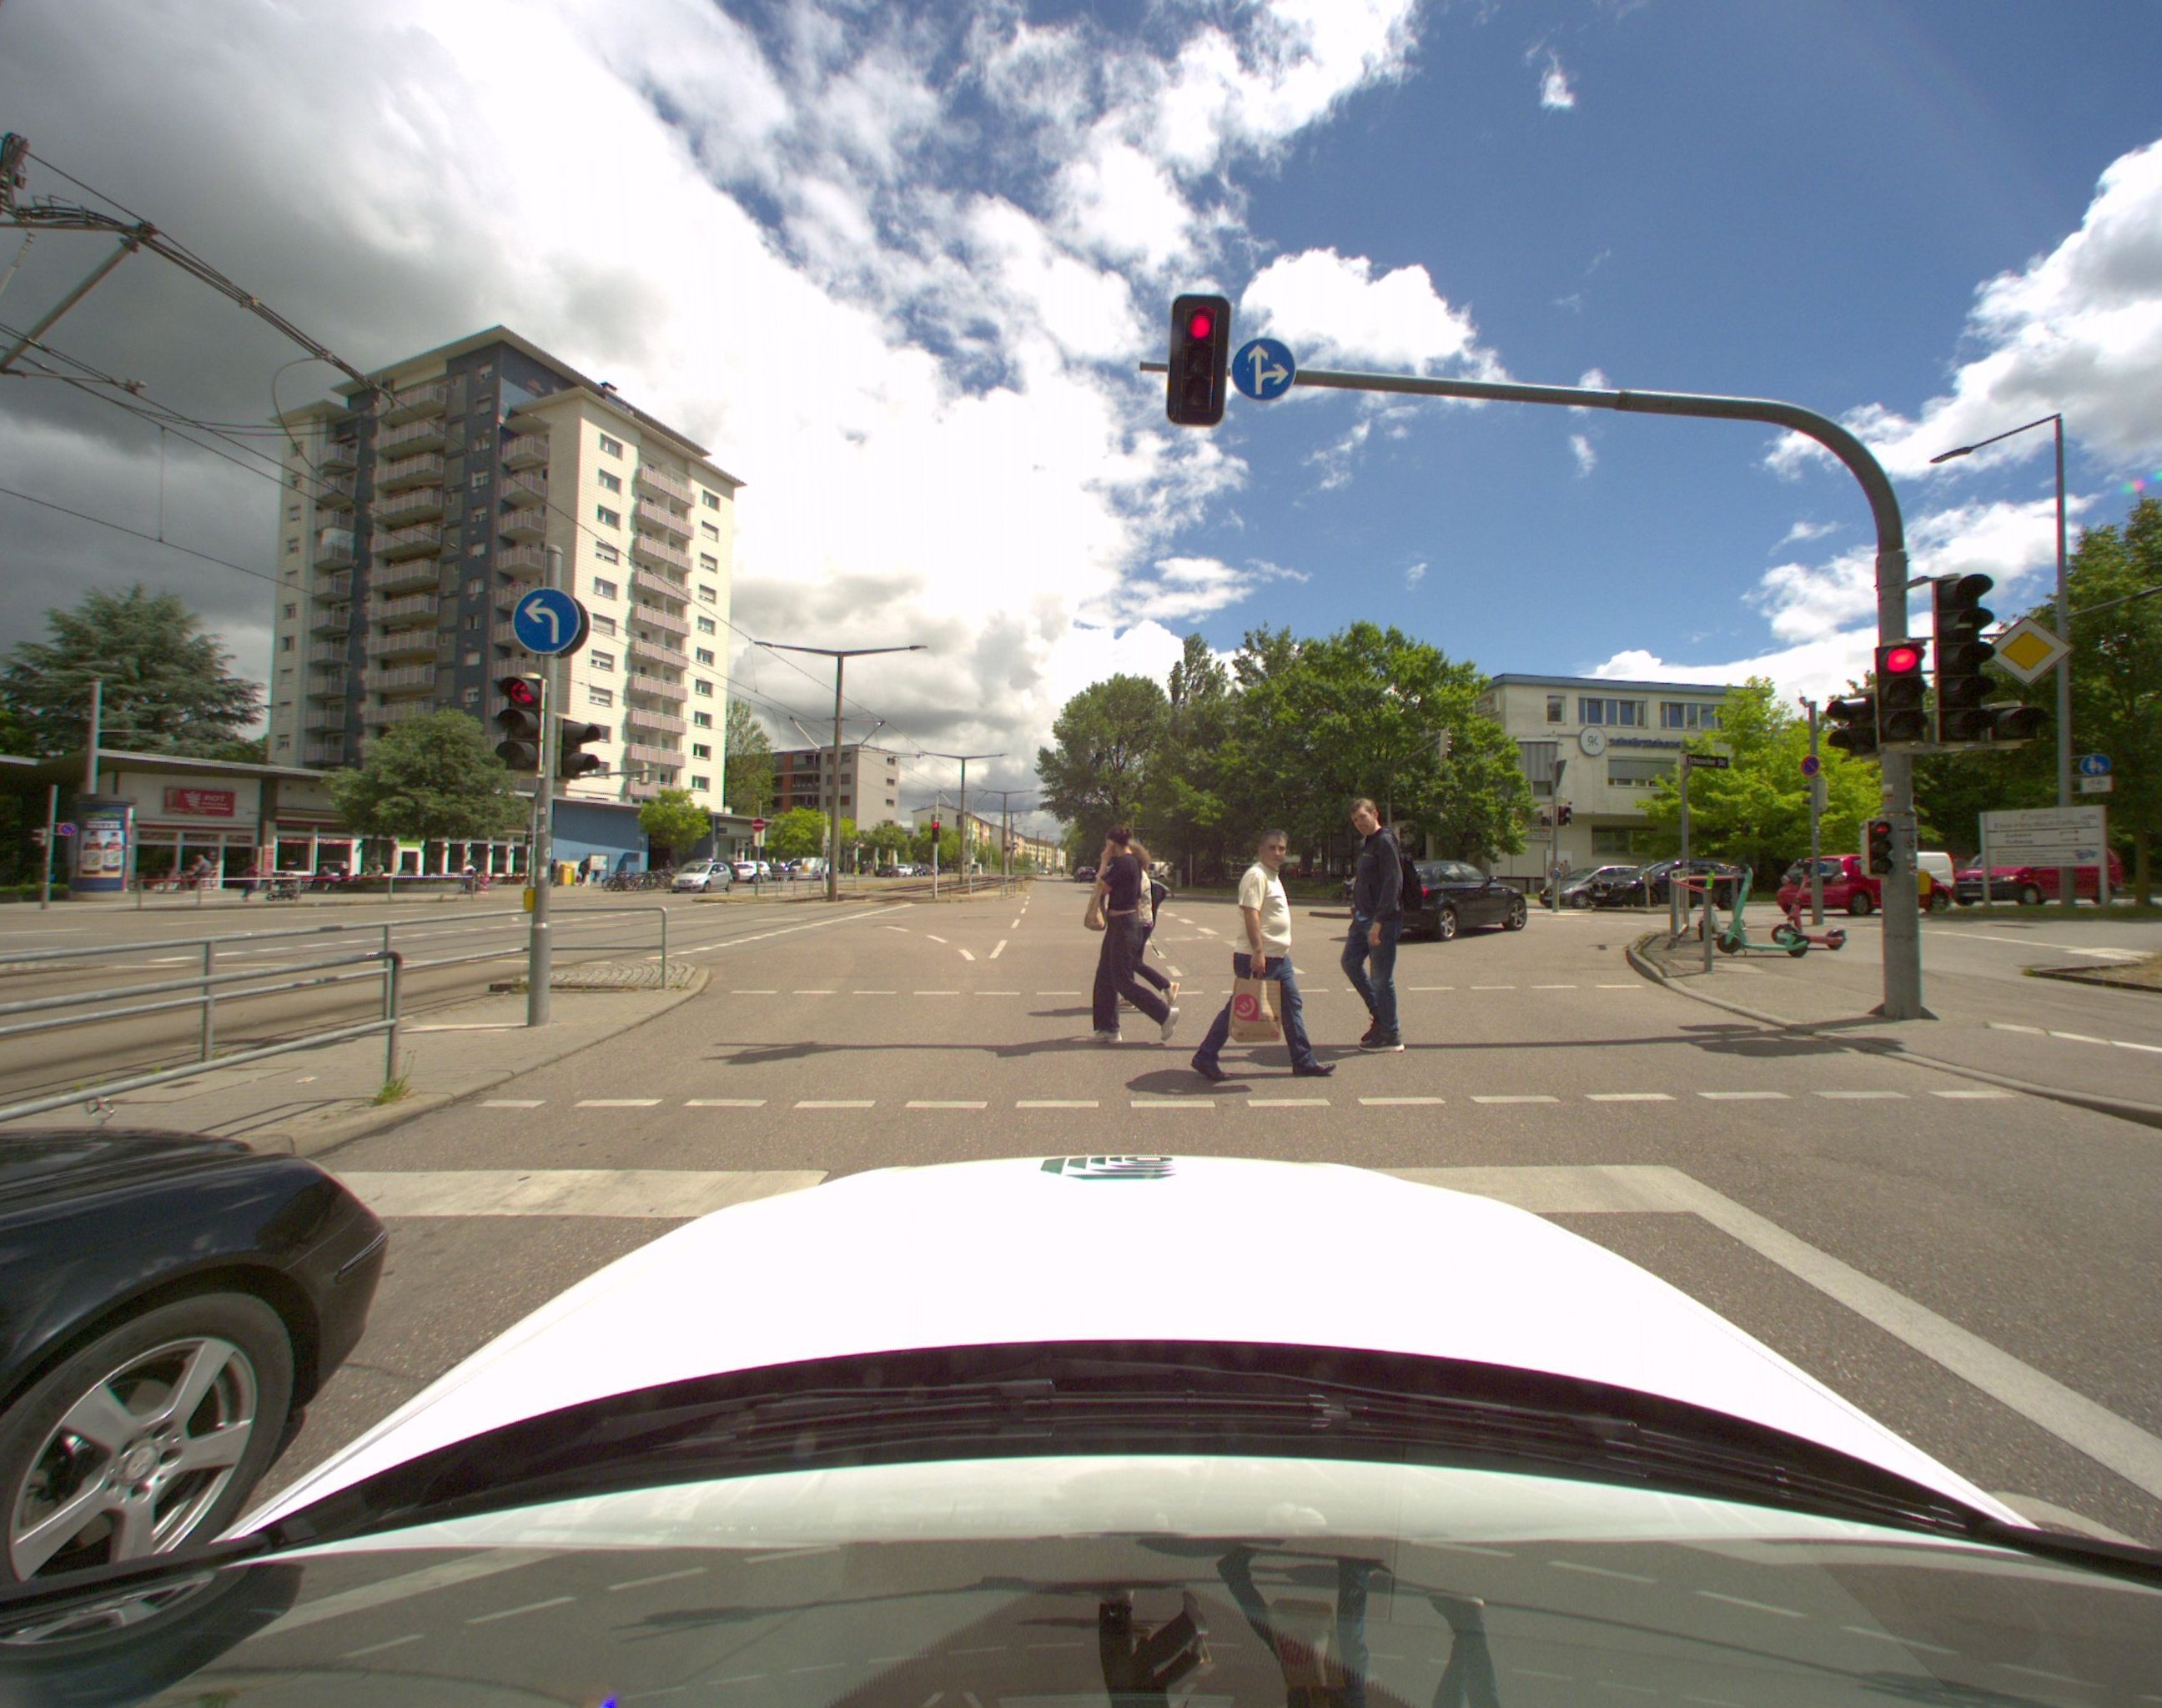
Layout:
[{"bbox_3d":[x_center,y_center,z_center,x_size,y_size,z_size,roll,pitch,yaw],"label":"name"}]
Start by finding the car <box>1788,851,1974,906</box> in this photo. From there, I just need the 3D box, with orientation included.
[{"bbox_3d":[26.195,0.769,26.732,4.555,1.717,1.995,0,0,-8],"label":"car"}]

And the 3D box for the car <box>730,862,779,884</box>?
[{"bbox_3d":[-24.892,1.421,61.949,4.165,1.538,1.973,-1,-1,45],"label":"car"}]

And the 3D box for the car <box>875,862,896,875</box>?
[{"bbox_3d":[-22.007,1.664,91.700,1.758,1.395,3.993,0,0,-5],"label":"car"}]

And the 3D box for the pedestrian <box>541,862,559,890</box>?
[{"bbox_3d":[-30.159,1.242,46.269,0.770,1.615,0.693,0,-1,-24],"label":"pedestrian"}]

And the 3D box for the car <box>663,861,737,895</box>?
[{"bbox_3d":[-19.811,1.200,42.550,1.930,1.693,3.874,0,0,2],"label":"car"}]

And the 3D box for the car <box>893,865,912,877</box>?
[{"bbox_3d":[-21.667,2.032,99.064,1.758,1.395,3.993,0,0,-5],"label":"car"}]

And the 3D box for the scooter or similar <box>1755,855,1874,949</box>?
[{"bbox_3d":[10.238,0.660,11.385,1.225,1.240,0.555,2,0,-7],"label":"scooter or similar"}]

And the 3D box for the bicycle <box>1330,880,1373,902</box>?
[{"bbox_3d":[10.731,1.456,32.412,0.792,0.819,1.799,0,0,-14],"label":"bicycle"}]

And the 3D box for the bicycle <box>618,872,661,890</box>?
[{"bbox_3d":[-23.478,1.439,43.309,1.943,0.935,0.494,0,-1,-5],"label":"bicycle"}]

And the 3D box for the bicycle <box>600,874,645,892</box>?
[{"bbox_3d":[-23.498,1.486,41.762,1.943,0.935,0.494,0,-1,-5],"label":"bicycle"}]

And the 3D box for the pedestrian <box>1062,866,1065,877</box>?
[{"bbox_3d":[-2.865,2.840,132.195,0.334,1.627,0.356,0,-1,-16],"label":"pedestrian"}]

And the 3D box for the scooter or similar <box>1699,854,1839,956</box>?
[{"bbox_3d":[8.851,0.640,10.509,1.336,1.277,0.463,0,0,8],"label":"scooter or similar"}]

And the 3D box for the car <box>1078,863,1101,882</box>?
[{"bbox_3d":[0.810,1.676,74.707,1.986,1.684,4.002,0,0,2],"label":"car"}]

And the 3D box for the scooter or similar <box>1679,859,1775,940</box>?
[{"bbox_3d":[9.753,0.671,12.298,1.360,1.156,0.540,1,0,-23],"label":"scooter or similar"}]

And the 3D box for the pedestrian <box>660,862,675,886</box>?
[{"bbox_3d":[-28.266,1.377,55.654,0.768,1.615,0.695,0,-1,-14],"label":"pedestrian"}]

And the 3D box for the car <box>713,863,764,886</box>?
[{"bbox_3d":[-24.660,1.427,58.633,4.165,1.570,1.973,-1,-1,45],"label":"car"}]

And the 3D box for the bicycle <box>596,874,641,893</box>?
[{"bbox_3d":[-23.462,1.481,41.296,1.943,0.935,0.494,0,-1,-5],"label":"bicycle"}]

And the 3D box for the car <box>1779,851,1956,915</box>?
[{"bbox_3d":[18.773,0.658,19.496,3.187,1.441,1.541,0,0,-12],"label":"car"}]

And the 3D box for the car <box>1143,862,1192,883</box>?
[{"bbox_3d":[7.764,1.605,73.270,4.001,1.823,1.766,0,-1,-21],"label":"car"}]

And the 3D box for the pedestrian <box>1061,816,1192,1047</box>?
[{"bbox_3d":[0.351,0.593,6.692,0.933,1.765,0.769,0,0,-10],"label":"pedestrian"}]

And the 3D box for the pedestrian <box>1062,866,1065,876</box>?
[{"bbox_3d":[-2.888,2.778,132.209,0.477,1.637,0.454,0,-1,1],"label":"pedestrian"}]

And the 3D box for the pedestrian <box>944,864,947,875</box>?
[{"bbox_3d":[-21.237,2.453,127.857,0.451,1.637,0.480,0,-1,-1],"label":"pedestrian"}]

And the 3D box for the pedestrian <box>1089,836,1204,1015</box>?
[{"bbox_3d":[0.681,0.679,8.168,0.945,1.674,0.874,-2,-1,16],"label":"pedestrian"}]

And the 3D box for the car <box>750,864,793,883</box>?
[{"bbox_3d":[-24.765,1.519,65.029,1.800,1.420,4.166,0,-1,-43],"label":"car"}]

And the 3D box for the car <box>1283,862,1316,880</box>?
[{"bbox_3d":[20.566,1.604,76.658,1.728,1.595,3.992,0,0,-5],"label":"car"}]

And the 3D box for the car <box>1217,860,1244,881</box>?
[{"bbox_3d":[13.647,1.505,74.386,1.626,1.811,4.030,0,0,-1],"label":"car"}]

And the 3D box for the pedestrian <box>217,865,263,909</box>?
[{"bbox_3d":[-32.562,1.277,31.539,0.957,1.659,1.002,-1,-1,27],"label":"pedestrian"}]

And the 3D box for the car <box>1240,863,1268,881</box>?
[{"bbox_3d":[15.921,1.633,75.034,1.626,1.573,4.030,0,0,-1],"label":"car"}]

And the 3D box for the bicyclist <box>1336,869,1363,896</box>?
[{"bbox_3d":[10.702,1.126,32.455,0.792,1.022,0.633,0,-1,-13],"label":"bicyclist"}]

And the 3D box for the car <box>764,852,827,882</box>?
[{"bbox_3d":[-24.689,1.065,70.182,2.848,2.478,6.641,0,-1,-42],"label":"car"}]

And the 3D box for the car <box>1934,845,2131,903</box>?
[{"bbox_3d":[31.818,0.669,27.301,4.800,1.864,1.994,0,-2,-8],"label":"car"}]

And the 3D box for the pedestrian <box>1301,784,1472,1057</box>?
[{"bbox_3d":[2.318,0.474,6.288,0.963,1.942,0.896,0,0,-3],"label":"pedestrian"}]

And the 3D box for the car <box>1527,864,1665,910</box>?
[{"bbox_3d":[18.673,1.152,29.621,3.906,1.556,1.994,0,0,-9],"label":"car"}]

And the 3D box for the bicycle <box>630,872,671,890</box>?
[{"bbox_3d":[-23.434,1.449,44.337,1.943,0.935,0.494,0,-1,-5],"label":"bicycle"}]

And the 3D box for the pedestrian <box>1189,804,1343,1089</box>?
[{"bbox_3d":[1.227,0.583,5.555,0.866,1.808,0.741,0,0,-2],"label":"pedestrian"}]

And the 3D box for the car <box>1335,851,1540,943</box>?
[{"bbox_3d":[6.837,0.745,15.492,4.017,1.487,1.739,-1,-2,-36],"label":"car"}]

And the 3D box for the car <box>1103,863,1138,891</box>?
[{"bbox_3d":[2.488,1.430,51.861,2.144,1.684,4.001,0,-1,2],"label":"car"}]

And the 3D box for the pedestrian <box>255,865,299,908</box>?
[{"bbox_3d":[-32.184,1.284,32.599,0.957,1.659,1.002,-1,-1,27],"label":"pedestrian"}]

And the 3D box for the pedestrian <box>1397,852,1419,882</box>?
[{"bbox_3d":[17.904,0.693,44.611,0.769,1.643,0.903,0,-1,-13],"label":"pedestrian"}]

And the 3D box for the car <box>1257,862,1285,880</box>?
[{"bbox_3d":[17.752,1.606,76.366,1.626,1.595,3.998,0,0,-1],"label":"car"}]

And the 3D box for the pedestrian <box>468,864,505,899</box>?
[{"bbox_3d":[-28.671,1.331,39.267,0.937,1.659,1.104,-1,-1,20],"label":"pedestrian"}]

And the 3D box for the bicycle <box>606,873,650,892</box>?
[{"bbox_3d":[-23.522,1.491,42.269,1.943,0.935,0.494,0,-1,-5],"label":"bicycle"}]

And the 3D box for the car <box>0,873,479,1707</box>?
[{"bbox_3d":[-2.778,0.781,0.228,1.721,1.461,4.546,0,0,2],"label":"car"}]

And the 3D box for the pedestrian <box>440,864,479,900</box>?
[{"bbox_3d":[-29.073,1.294,38.087,0.937,1.659,1.104,-1,-1,20],"label":"pedestrian"}]

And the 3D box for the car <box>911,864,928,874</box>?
[{"bbox_3d":[-21.817,2.016,110.326,1.758,1.395,3.993,0,0,-5],"label":"car"}]

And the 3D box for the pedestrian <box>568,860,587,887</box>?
[{"bbox_3d":[-30.031,1.161,48.580,0.767,1.615,0.695,0,-1,-12],"label":"pedestrian"}]

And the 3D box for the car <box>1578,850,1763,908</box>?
[{"bbox_3d":[18.467,0.761,25.625,4.551,1.717,1.996,0,0,-5],"label":"car"}]

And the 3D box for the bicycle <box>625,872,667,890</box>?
[{"bbox_3d":[-23.402,1.444,43.842,1.943,0.935,0.494,0,-1,-5],"label":"bicycle"}]

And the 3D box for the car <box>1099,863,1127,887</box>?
[{"bbox_3d":[2.328,1.535,59.316,1.986,1.684,4.001,0,-1,2],"label":"car"}]

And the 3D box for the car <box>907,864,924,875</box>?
[{"bbox_3d":[-21.463,2.008,105.750,1.758,1.395,3.993,0,0,-5],"label":"car"}]

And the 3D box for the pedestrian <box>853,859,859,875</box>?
[{"bbox_3d":[-24.096,1.415,87.323,0.547,1.716,0.667,0,-1,-8],"label":"pedestrian"}]
